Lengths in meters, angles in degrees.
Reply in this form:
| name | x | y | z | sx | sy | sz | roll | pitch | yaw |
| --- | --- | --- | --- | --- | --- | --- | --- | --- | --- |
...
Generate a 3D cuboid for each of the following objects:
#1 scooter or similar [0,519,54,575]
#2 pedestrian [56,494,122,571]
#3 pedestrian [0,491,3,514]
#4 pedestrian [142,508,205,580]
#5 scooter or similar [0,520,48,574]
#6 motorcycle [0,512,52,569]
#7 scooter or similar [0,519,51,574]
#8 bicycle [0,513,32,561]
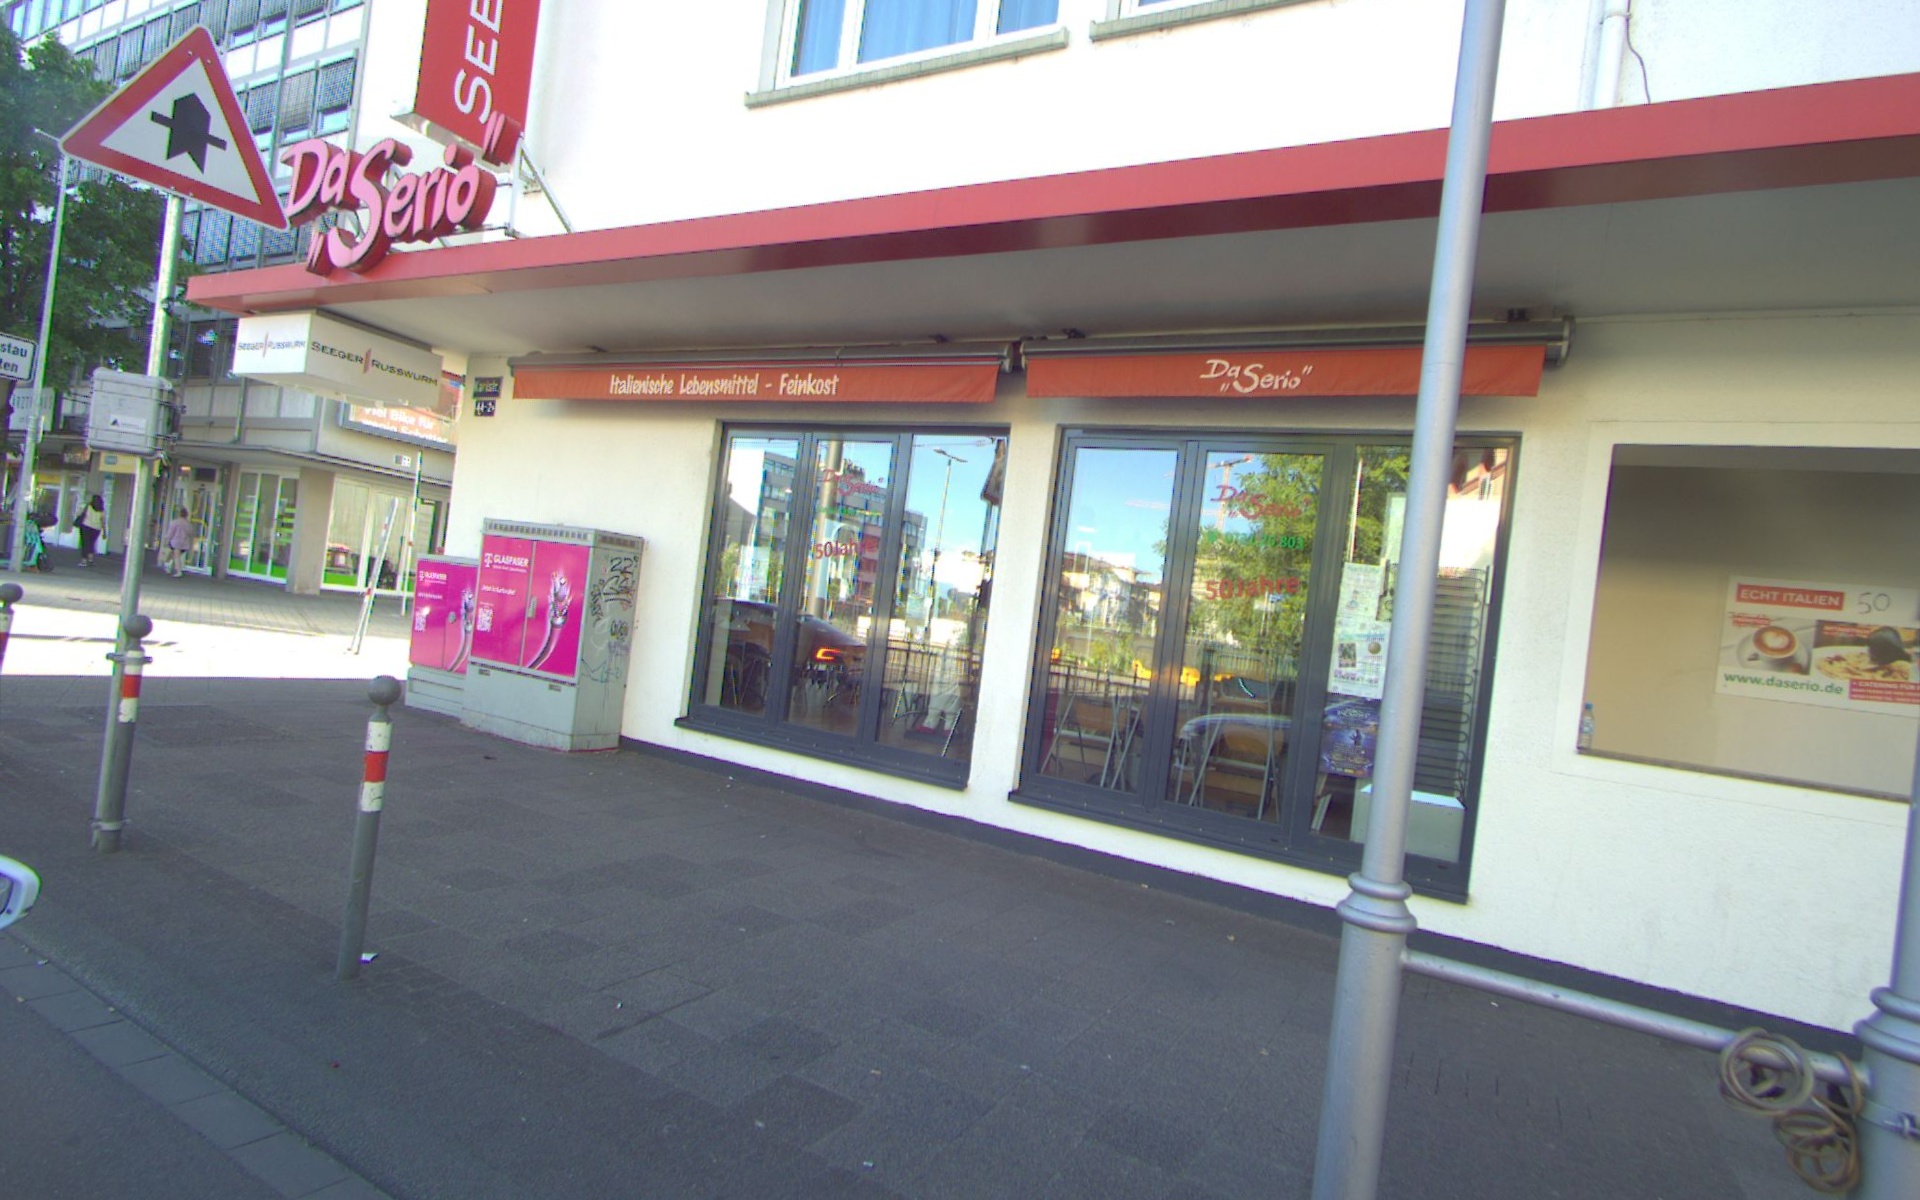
| name | x | y | z | sx | sy | sz | roll | pitch | yaw |
| --- | --- | --- | --- | --- | --- | --- | --- | --- | --- |
| scooter or similar | -19.700 | -1.119 | 21.079 | 0.157 | 1.056 | 0.964 | 7 | -1 | 34 |
| pedestrian | -21.335 | -1.652 | 24.658 | 0.865 | 1.727 | 0.844 | 6 | -1 | 31 |
| pedestrian | -30.875 | -2.785 | 31.863 | 0.613 | 1.438 | 0.644 | 6 | -1 | 42 |
| pedestrian | -19.685 | -1.401 | 25.181 | 0.865 | 1.621 | 0.844 | 6 | -1 | 31 |
| scooter or similar | -20.026 | -1.132 | 21.299 | 0.157 | 1.039 | 0.964 | 7 | -1 | 34 |
| motorcycle | -21.555 | -1.397 | 22.420 | 0.495 | 1.142 | 1.791 | 7 | -2 | 29 |
| scooter or similar | -19.862 | -1.124 | 21.189 | 0.157 | 1.051 | 0.957 | 7 | -1 | 34 |
| bicycle | -23.156 | -1.555 | 23.703 | 0.392 | 1.069 | 1.856 | 7 | 0 | 21 |
